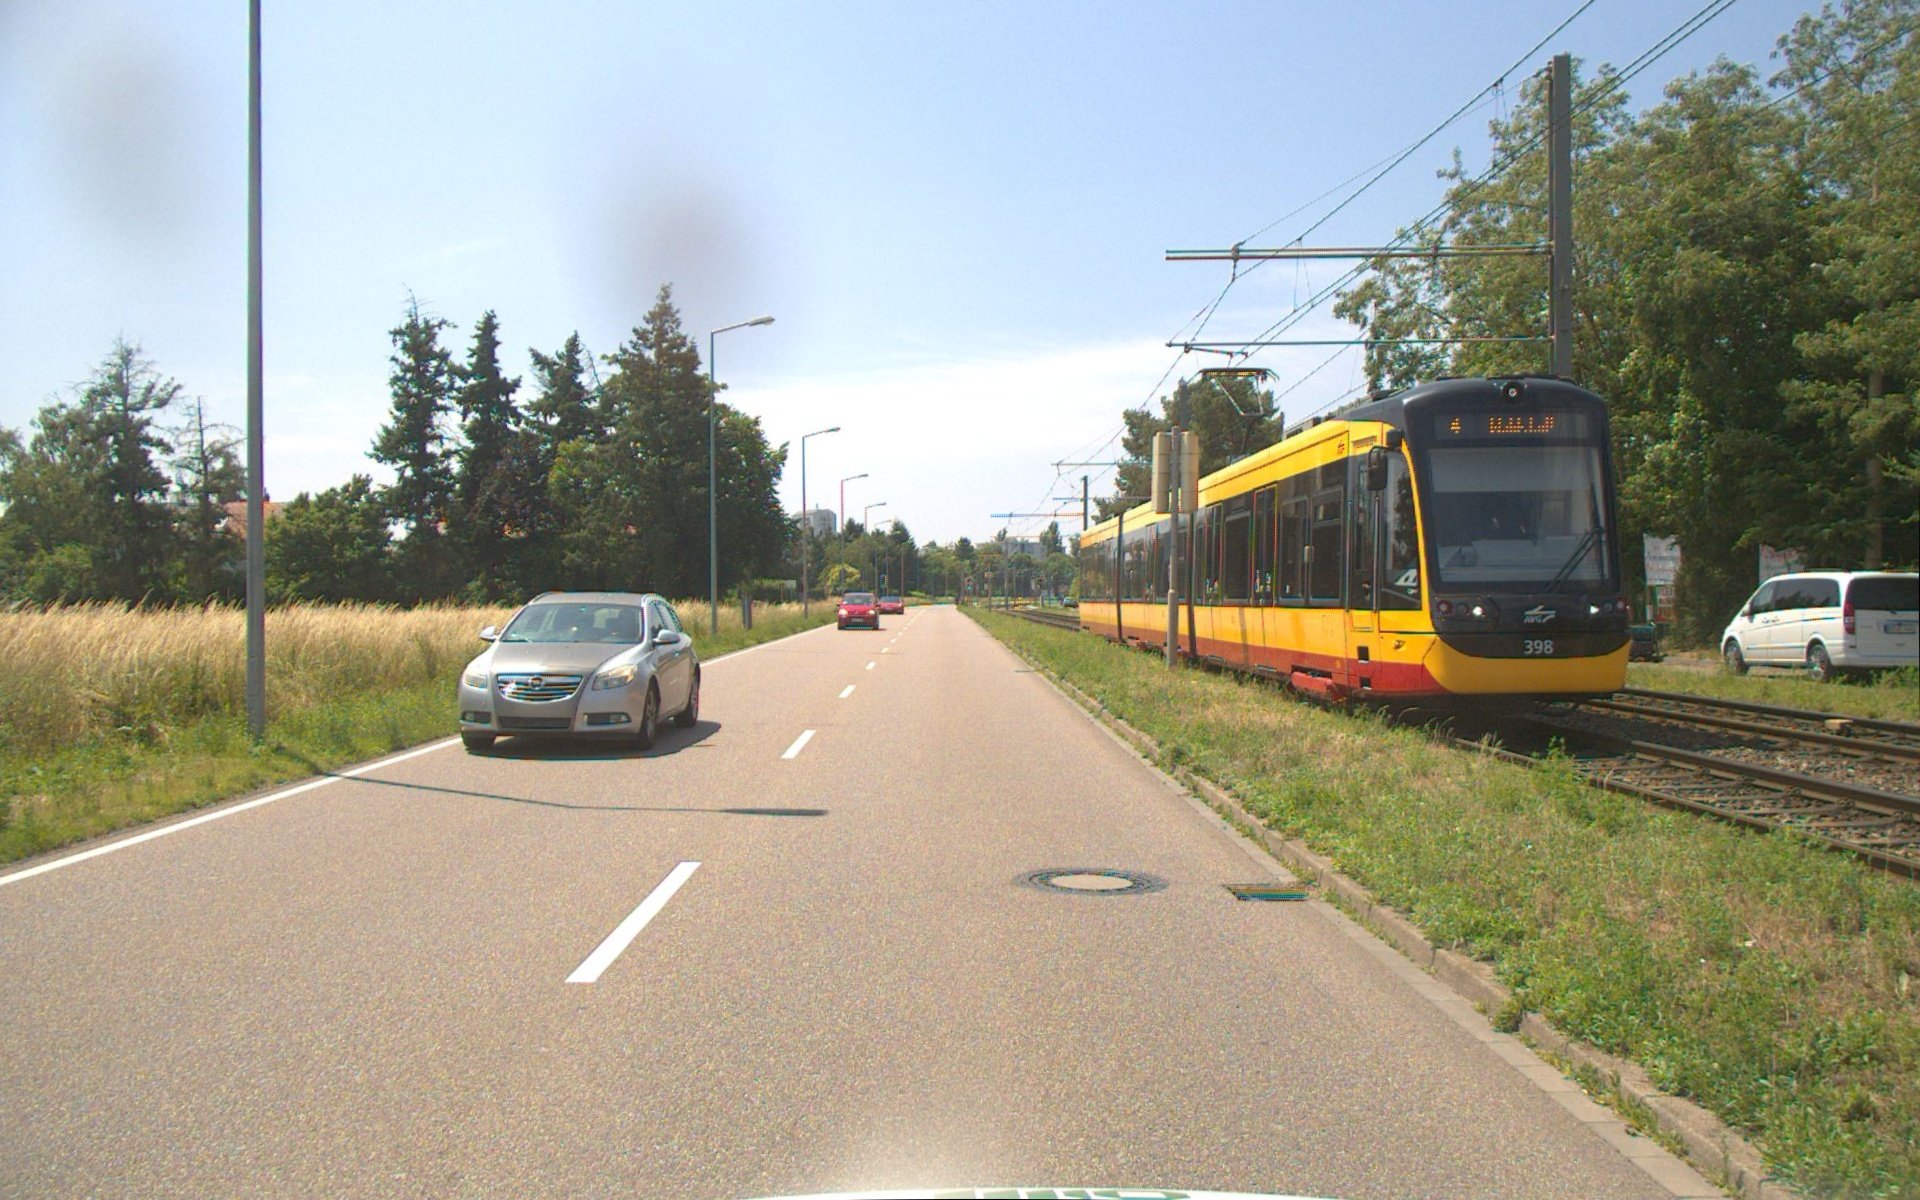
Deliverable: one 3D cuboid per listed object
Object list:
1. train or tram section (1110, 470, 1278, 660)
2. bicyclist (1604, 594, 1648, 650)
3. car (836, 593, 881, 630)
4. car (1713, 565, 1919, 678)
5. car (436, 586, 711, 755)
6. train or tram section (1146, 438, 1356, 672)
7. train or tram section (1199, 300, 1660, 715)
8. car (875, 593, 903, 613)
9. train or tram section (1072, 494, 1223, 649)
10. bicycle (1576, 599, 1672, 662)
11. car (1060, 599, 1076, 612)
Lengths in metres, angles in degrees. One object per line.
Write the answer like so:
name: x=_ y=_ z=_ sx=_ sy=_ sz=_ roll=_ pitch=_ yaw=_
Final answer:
train or tram section: x=5.077 y=-0.672 z=37.076 sx=2.646 sy=3.832 sz=6.727 roll=-1 pitch=-1 yaw=-1
bicyclist: x=16.223 y=0.536 z=40.306 sx=0.687 sy=1.361 sz=0.903 roll=-1 pitch=-1 yaw=-1
car: x=-4.122 y=0.475 z=67.605 sx=1.612 sy=1.424 sz=3.843 roll=-1 pitch=-1 yaw=-1
car: x=15.606 y=0.377 z=29.635 sx=1.953 sy=1.834 sz=4.793 roll=-1 pitch=-1 yaw=-1
car: x=-3.794 y=0.667 z=17.076 sx=1.797 sy=1.493 sz=4.677 roll=-1 pitch=-1 yaw=-1
train or tram section: x=5.119 y=-0.691 z=30.330 sx=2.509 sy=3.779 sz=6.727 roll=-1 pitch=-1 yaw=-1
train or tram section: x=5.196 y=-0.792 z=21.141 sx=2.380 sy=3.832 sz=11.556 roll=-1 pitch=-1 yaw=-1
car: x=-4.929 y=0.217 z=115.241 sx=1.770 sy=1.308 sz=4.285 roll=-1 pitch=-1 yaw=-1
train or tram section: x=4.964 y=-0.634 z=46.030 sx=2.709 sy=3.754 sz=11.183 roll=-1 pitch=-1 yaw=-1
bicycle: x=16.123 y=0.738 z=40.295 sx=0.909 sy=1.455 sz=3.384 roll=-1 pitch=-1 yaw=-1
car: x=14.324 y=0.734 z=219.143 sx=1.876 sy=1.691 sz=3.999 roll=-1 pitch=-1 yaw=-1
